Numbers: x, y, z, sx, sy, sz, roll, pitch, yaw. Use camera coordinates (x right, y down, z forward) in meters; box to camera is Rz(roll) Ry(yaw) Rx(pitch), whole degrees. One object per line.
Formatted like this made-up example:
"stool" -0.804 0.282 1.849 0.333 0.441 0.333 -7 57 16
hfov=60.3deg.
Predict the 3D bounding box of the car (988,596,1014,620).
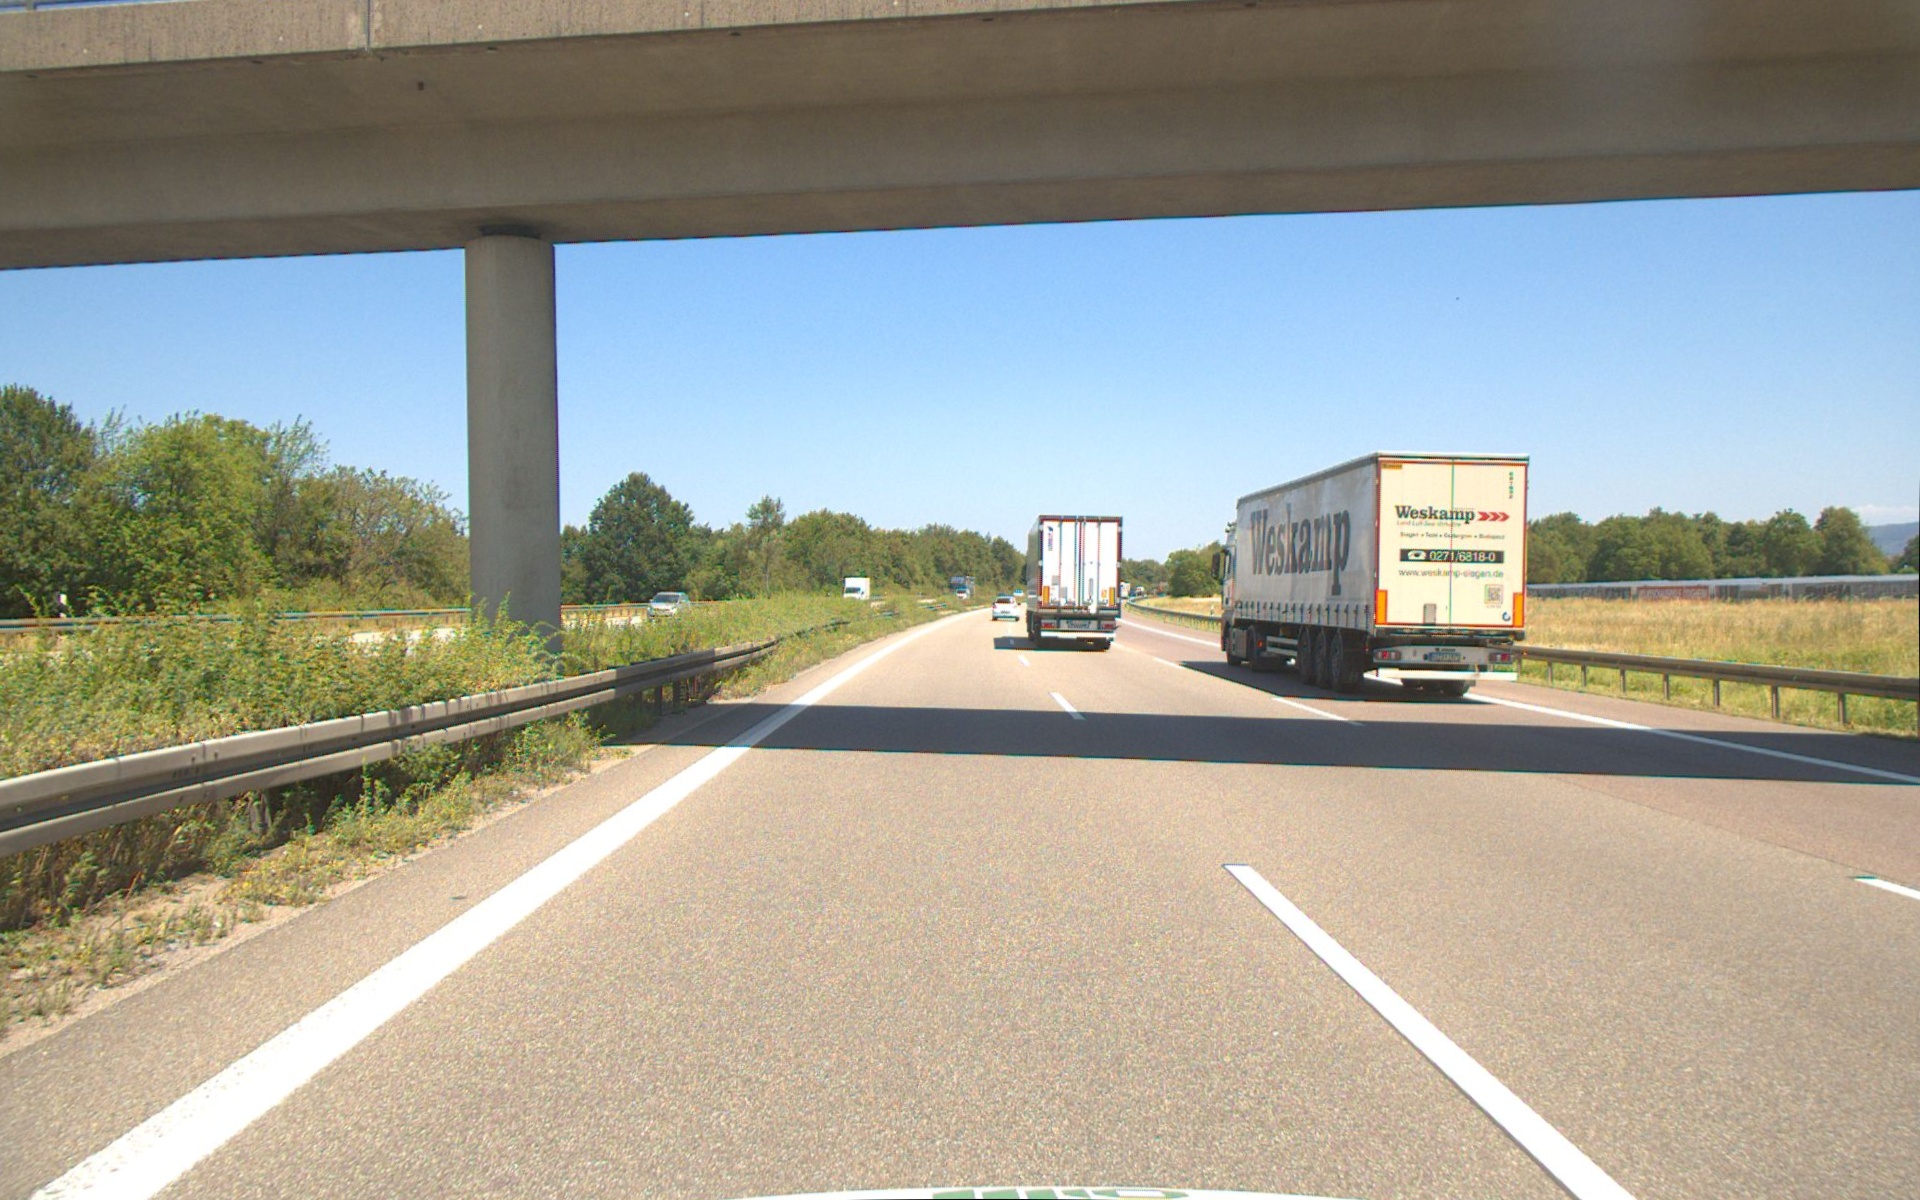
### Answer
"car" 2.648 0.528 106.945 1.594 1.505 4.001 0 0 1

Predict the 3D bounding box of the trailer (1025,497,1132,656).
"trailer" 3.845 -0.743 56.813 2.841 4.738 13.988 1 0 1

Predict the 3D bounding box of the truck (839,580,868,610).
"truck" -11.469 -0.540 178.471 2.400 3.153 6.992 0 0 2

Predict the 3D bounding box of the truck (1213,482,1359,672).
"truck" 7.931 -0.542 40.808 2.547 4.330 5.089 1 0 0

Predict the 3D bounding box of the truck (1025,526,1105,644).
"truck" 4.009 -0.566 64.224 2.848 4.330 4.976 1 0 1

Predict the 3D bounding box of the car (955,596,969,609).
"car" 0.350 0.395 259.009 2.015 2.107 5.410 0 0 1

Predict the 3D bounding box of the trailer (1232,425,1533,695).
"trailer" 7.959 -0.596 33.589 2.542 4.326 13.638 1 0 0

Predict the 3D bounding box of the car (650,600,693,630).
"car" -15.699 0.809 90.045 1.676 1.601 4.402 0 0 -2
